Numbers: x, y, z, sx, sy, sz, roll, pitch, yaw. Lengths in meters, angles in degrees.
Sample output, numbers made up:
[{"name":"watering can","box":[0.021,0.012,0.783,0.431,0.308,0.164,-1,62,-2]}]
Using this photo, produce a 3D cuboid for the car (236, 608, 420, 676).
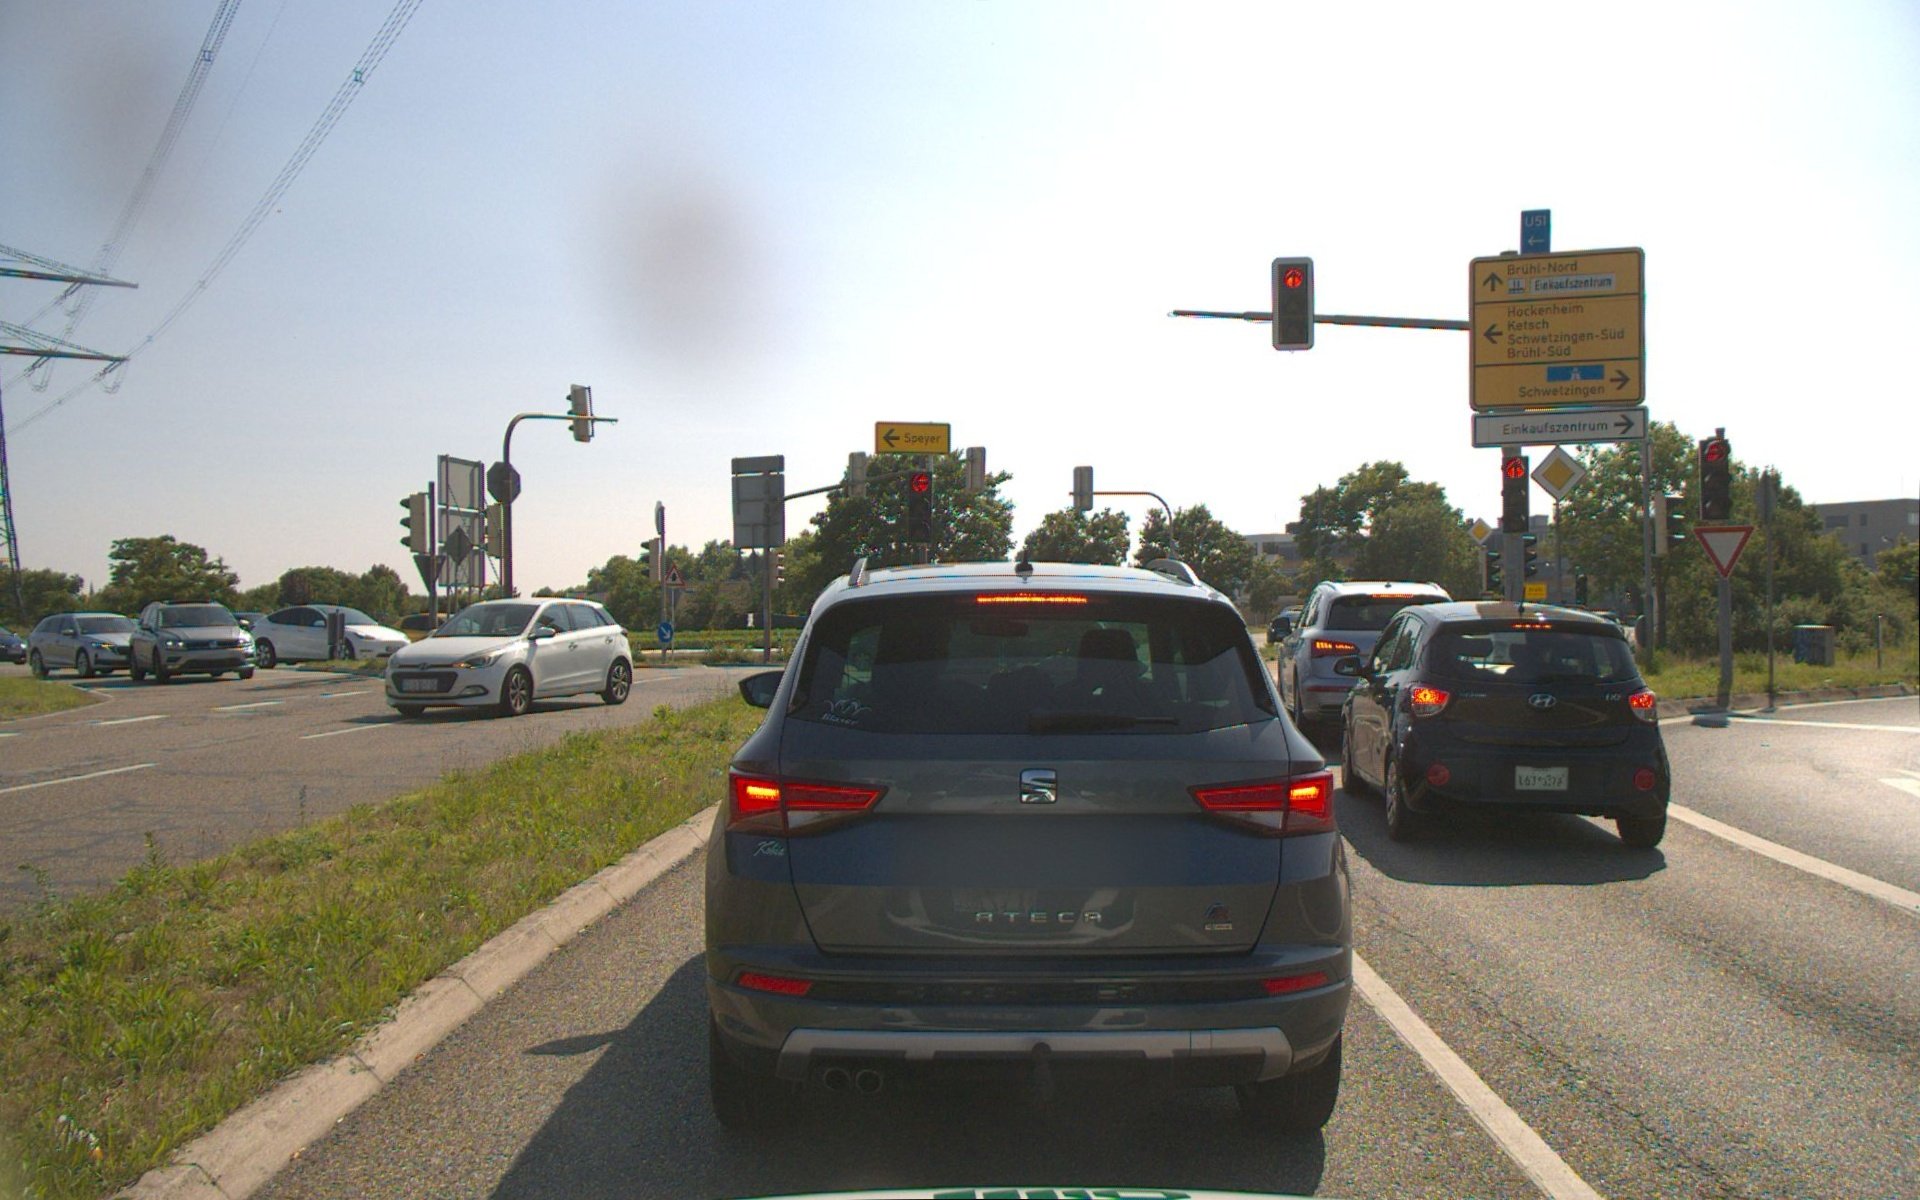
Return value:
[{"name":"car","box":[-16.431,1.055,42.957,4.654,1.680,1.818,0,-1,27]}]

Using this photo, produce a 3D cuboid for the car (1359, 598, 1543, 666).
[{"name":"car","box":[11.607,0.745,39.098,3.944,1.545,1.806,-1,0,25]}]

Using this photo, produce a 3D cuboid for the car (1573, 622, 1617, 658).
[{"name":"car","box":[31.589,1.952,82.236,1.839,1.702,3.767,1,0,24]}]

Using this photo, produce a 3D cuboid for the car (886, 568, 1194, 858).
[{"name":"car","box":[0.458,0.649,11.134,1.706,1.596,3.624,1,0,0]}]

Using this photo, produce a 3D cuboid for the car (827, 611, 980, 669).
[{"name":"car","box":[-1.549,1.084,45.540,3.789,1.545,1.807,-1,0,23]}]

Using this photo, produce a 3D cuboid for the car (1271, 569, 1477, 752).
[{"name":"car","box":[4.287,0.580,17.611,1.598,1.706,3.752,1,0,6]}]

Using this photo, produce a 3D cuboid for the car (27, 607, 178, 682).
[{"name":"car","box":[-20.405,1.033,39.317,3.924,1.680,1.811,-1,-1,39]}]

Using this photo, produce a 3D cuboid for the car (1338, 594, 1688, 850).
[{"name":"car","box":[3.621,0.711,11.371,1.598,1.473,3.297,1,0,6]}]

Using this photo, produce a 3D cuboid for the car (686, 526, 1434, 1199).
[{"name":"car","box":[0.212,0.656,5.645,1.706,1.596,3.623,1,0,-1]}]

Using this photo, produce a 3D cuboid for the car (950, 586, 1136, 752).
[{"name":"car","box":[0.911,0.654,17.263,1.705,1.510,3.626,1,0,4]}]

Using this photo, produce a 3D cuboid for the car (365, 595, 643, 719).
[{"name":"car","box":[-5.938,0.687,22.016,1.682,1.490,3.914,0,0,18]}]

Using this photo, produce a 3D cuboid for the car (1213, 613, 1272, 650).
[{"name":"car","box":[13.828,1.516,80.904,1.840,1.702,3.766,1,0,26]}]

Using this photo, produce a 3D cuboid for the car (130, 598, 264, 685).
[{"name":"car","box":[-15.797,0.821,34.164,1.800,1.680,3.949,0,0,-36]}]

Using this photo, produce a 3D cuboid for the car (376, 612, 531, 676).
[{"name":"car","box":[-13.891,1.183,45.318,3.910,1.680,1.818,-1,0,27]}]

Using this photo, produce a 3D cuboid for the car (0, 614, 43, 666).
[{"name":"car","box":[-32.675,1.340,55.167,3.910,1.680,1.818,-1,0,27]}]
